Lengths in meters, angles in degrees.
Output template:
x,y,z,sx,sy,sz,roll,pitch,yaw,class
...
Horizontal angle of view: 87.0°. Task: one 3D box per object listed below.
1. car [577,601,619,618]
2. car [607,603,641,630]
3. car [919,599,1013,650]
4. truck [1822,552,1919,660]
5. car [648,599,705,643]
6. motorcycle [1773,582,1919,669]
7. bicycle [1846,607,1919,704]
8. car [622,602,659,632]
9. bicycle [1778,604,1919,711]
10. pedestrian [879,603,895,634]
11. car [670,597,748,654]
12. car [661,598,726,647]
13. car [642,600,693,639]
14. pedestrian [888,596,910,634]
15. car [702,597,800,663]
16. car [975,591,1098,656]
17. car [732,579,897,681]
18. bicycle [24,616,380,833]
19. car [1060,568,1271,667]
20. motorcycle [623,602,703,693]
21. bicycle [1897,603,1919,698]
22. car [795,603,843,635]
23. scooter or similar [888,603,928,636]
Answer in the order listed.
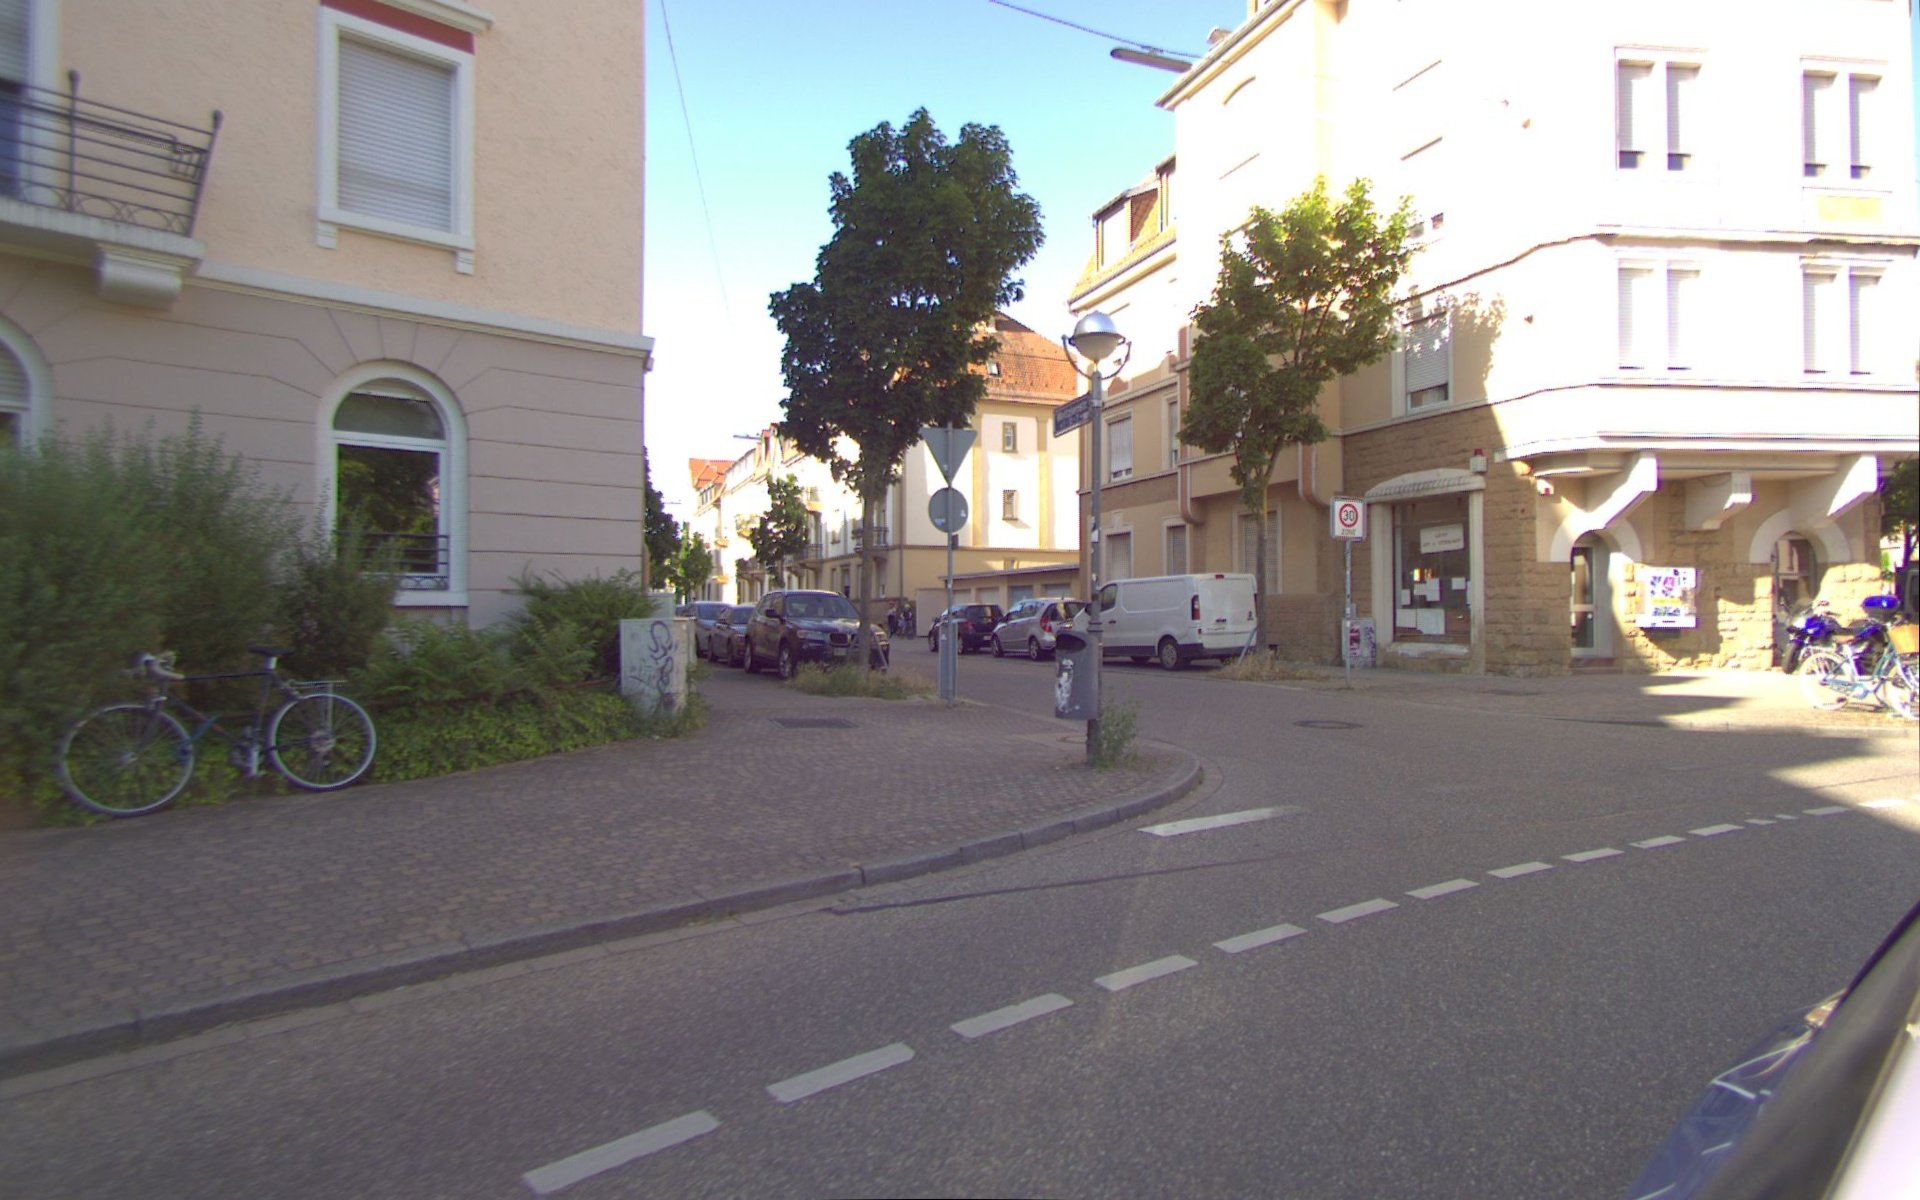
x,y,z,sx,sy,sz,roll,pitch,yaw,class
-34.489,0.927,96.390,3.691,1.544,1.704,0,-1,-24,car
-19.937,0.956,59.972,1.666,1.544,3.776,0,-1,-21,car
0.128,0.728,30.909,1.604,1.446,3.339,0,-1,-25,car
22.085,0.107,22.583,2.113,2.321,6.576,-2,-1,20,truck
-10.598,0.749,37.672,1.666,1.544,3.776,0,-1,-21,car
15.349,0.436,17.462,2.205,1.429,0.701,1,0,-8,motorcycle
11.355,0.644,11.711,0.526,1.104,1.879,-1,0,0,bicycle
-17.296,0.900,54.720,1.666,1.544,3.776,0,-1,-21,car
10.585,0.624,11.624,0.685,1.144,1.869,-2,-1,-6,bicycle
-3.265,0.835,45.199,0.527,1.348,0.556,1,-1,-23,pedestrian
-7.206,0.690,28.828,1.666,1.505,4.010,0,-1,-21,car
-8.798,0.726,33.217,1.666,1.505,3.776,0,-1,-21,car
-12.075,0.786,41.618,1.666,1.544,3.776,0,-1,-21,car
-2.772,0.680,45.645,0.753,1.683,0.775,1,-1,-23,pedestrian
-4.978,0.663,23.804,1.666,1.430,3.670,0,-1,-21,car
1.944,0.588,26.838,1.604,1.593,3.744,0,-1,-25,car
-2.859,0.512,18.972,1.869,1.663,4.353,0,-1,-25,car
-4.525,0.670,6.169,0.499,1.102,1.666,1,1,34,bicycle
4.330,0.361,22.103,2.098,1.933,4.567,0,-1,-28,car
-4.400,0.654,14.872,0.923,1.236,2.157,2,-1,-21,motorcycle
11.977,0.612,11.725,0.626,1.160,1.696,-1,0,0,bicycle
-6.703,0.873,47.998,1.604,1.446,3.340,0,-1,-20,car
-2.217,0.822,43.279,1.306,1.398,1.355,1,-1,-23,scooter or similar
